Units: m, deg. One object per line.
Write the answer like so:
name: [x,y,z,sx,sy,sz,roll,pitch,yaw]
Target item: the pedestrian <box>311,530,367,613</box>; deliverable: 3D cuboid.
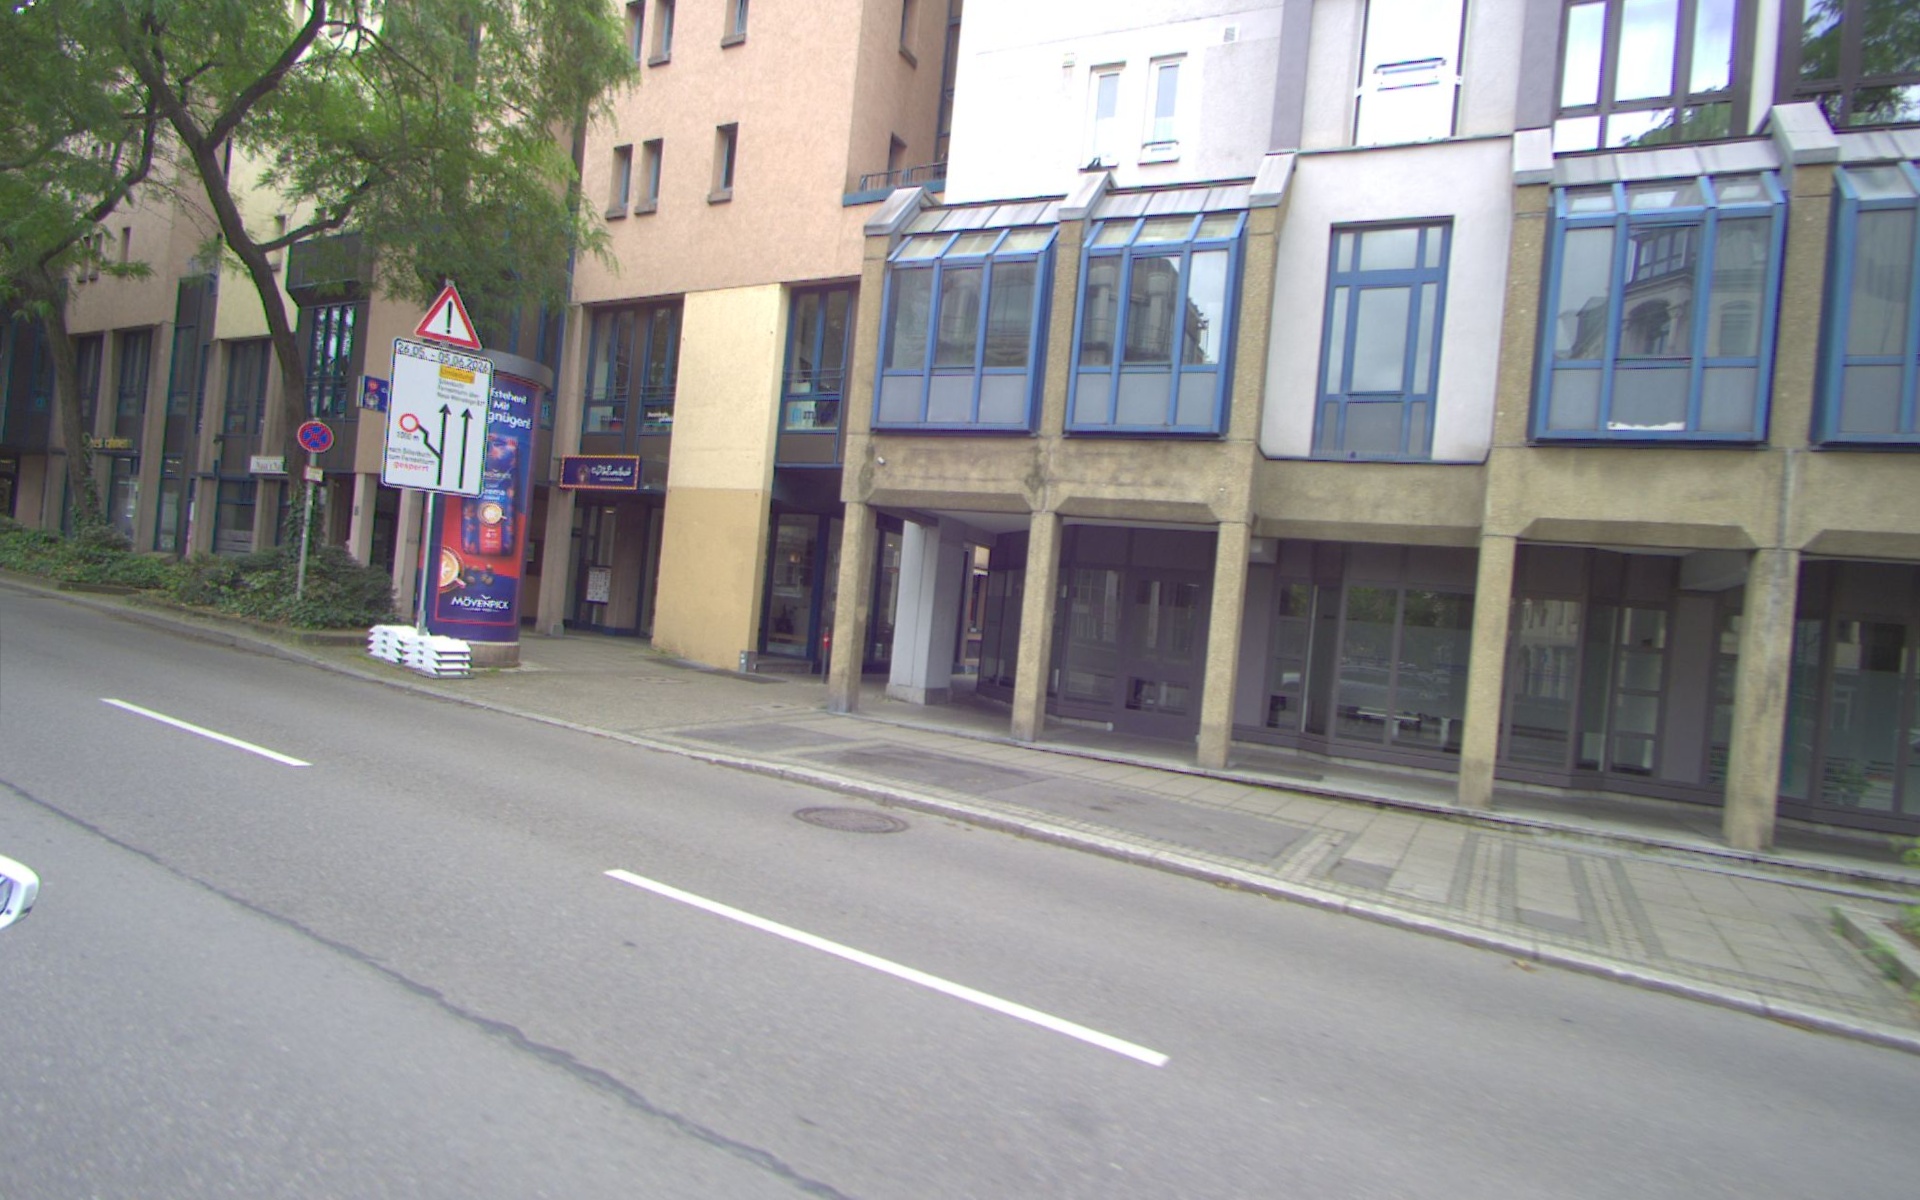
pedestrian: [-13.923,-0.629,22.555,0.677,1.732,0.709,8,1,37]
